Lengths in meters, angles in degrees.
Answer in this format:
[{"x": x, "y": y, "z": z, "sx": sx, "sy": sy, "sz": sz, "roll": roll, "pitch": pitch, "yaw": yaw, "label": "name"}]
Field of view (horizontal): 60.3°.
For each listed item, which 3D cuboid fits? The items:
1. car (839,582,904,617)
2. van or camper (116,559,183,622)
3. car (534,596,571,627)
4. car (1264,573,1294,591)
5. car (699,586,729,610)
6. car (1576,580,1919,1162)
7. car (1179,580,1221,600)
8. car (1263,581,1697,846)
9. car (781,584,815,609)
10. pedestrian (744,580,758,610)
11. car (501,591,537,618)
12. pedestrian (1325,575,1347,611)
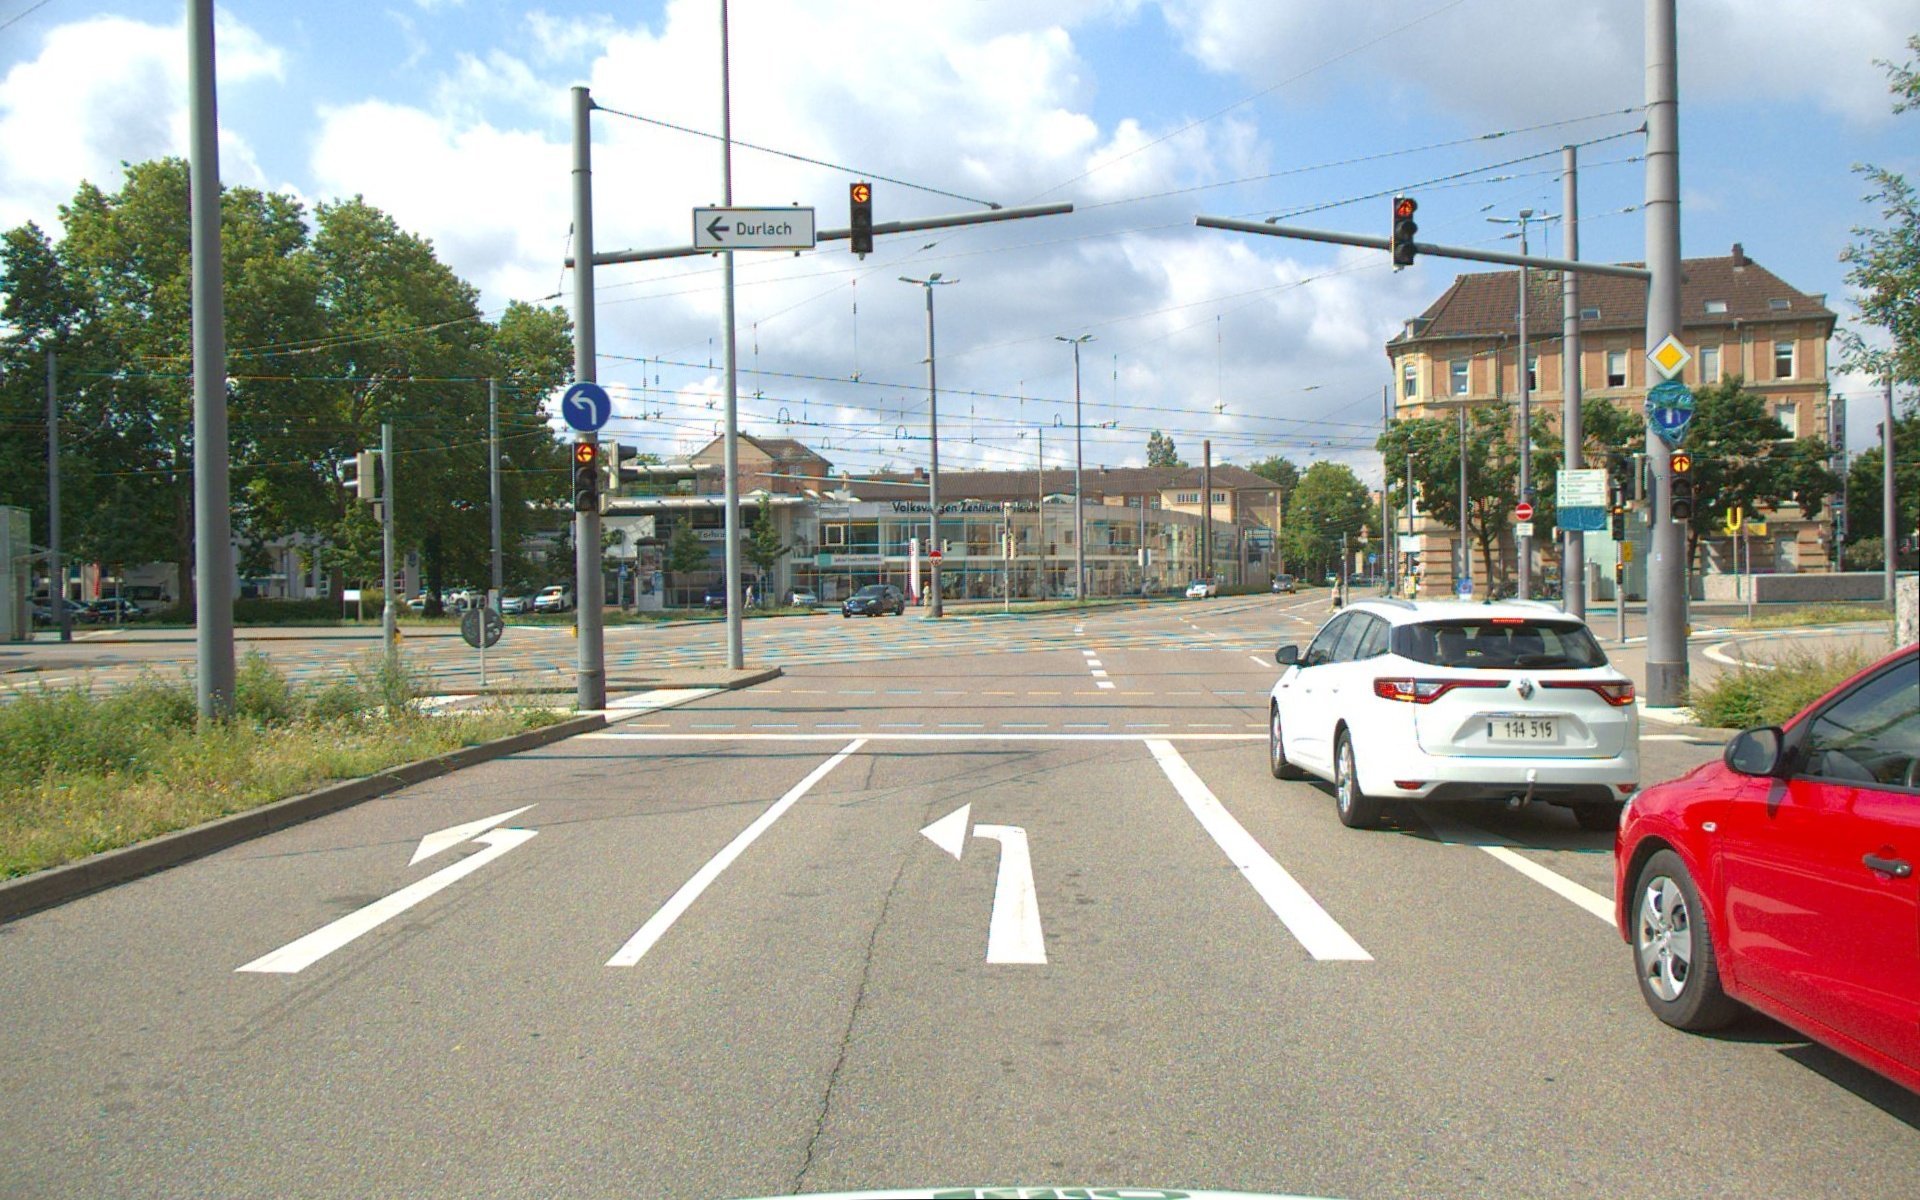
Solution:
[{"x": -4.089, "y": -0.046, "z": 77.228, "sx": 1.951, "sy": 1.556, "sz": 4.003, "roll": -1, "pitch": 1, "yaw": 14, "label": "car"}, {"x": -39.861, "y": -0.483, "z": 81.478, "sx": 2.546, "sy": 2.959, "sz": 6.057, "roll": -1, "pitch": 0, "yaw": -22, "label": "van or camper"}, {"x": -28.237, "y": 0.787, "z": 114.650, "sx": 1.955, "sy": 2.049, "sz": 3.995, "roll": -1, "pitch": 0, "yaw": -6, "label": "car"}, {"x": 29.060, "y": -1.634, "z": 150.500, "sx": 1.952, "sy": 1.601, "sz": 4.000, "roll": -1, "pitch": 1, "yaw": 21, "label": "car"}, {"x": -16.879, "y": -0.137, "z": 113.622, "sx": 1.956, "sy": 1.579, "sz": 4.072, "roll": -1, "pitch": 0, "yaw": -7, "label": "car"}, {"x": 3.315, "y": 0.697, "z": 4.408, "sx": 1.779, "sy": 1.464, "sz": 4.067, "roll": 1, "pitch": 0, "yaw": -1, "label": "car"}, {"x": 18.641, "y": -0.785, "z": 128.272, "sx": 1.956, "sy": 1.467, "sz": 3.993, "roll": -1, "pitch": 1, "yaw": 29, "label": "car"}, {"x": 3.408, "y": 0.639, "z": 11.758, "sx": 1.809, "sy": 1.498, "sz": 4.336, "roll": -1, "pitch": 0, "yaw": 2, "label": "car"}, {"x": -11.237, "y": -0.246, "z": 114.885, "sx": 1.958, "sy": 1.624, "sz": 3.989, "roll": -1, "pitch": 0, "yaw": -11, "label": "car"}, {"x": -14.020, "y": -0.336, "z": 111.099, "sx": 0.865, "sy": 1.982, "sz": 0.886, "roll": -1, "pitch": 0, "yaw": -10, "label": "pedestrian"}, {"x": -30.573, "y": 0.308, "z": 114.779, "sx": 1.763, "sy": 1.800, "sz": 3.995, "roll": -1, "pitch": 0, "yaw": -6, "label": "car"}, {"x": 16.519, "y": -0.327, "z": 72.596, "sx": 0.669, "sy": 1.562, "sz": 0.664, "roll": -1, "pitch": 0, "yaw": -40, "label": "pedestrian"}]
